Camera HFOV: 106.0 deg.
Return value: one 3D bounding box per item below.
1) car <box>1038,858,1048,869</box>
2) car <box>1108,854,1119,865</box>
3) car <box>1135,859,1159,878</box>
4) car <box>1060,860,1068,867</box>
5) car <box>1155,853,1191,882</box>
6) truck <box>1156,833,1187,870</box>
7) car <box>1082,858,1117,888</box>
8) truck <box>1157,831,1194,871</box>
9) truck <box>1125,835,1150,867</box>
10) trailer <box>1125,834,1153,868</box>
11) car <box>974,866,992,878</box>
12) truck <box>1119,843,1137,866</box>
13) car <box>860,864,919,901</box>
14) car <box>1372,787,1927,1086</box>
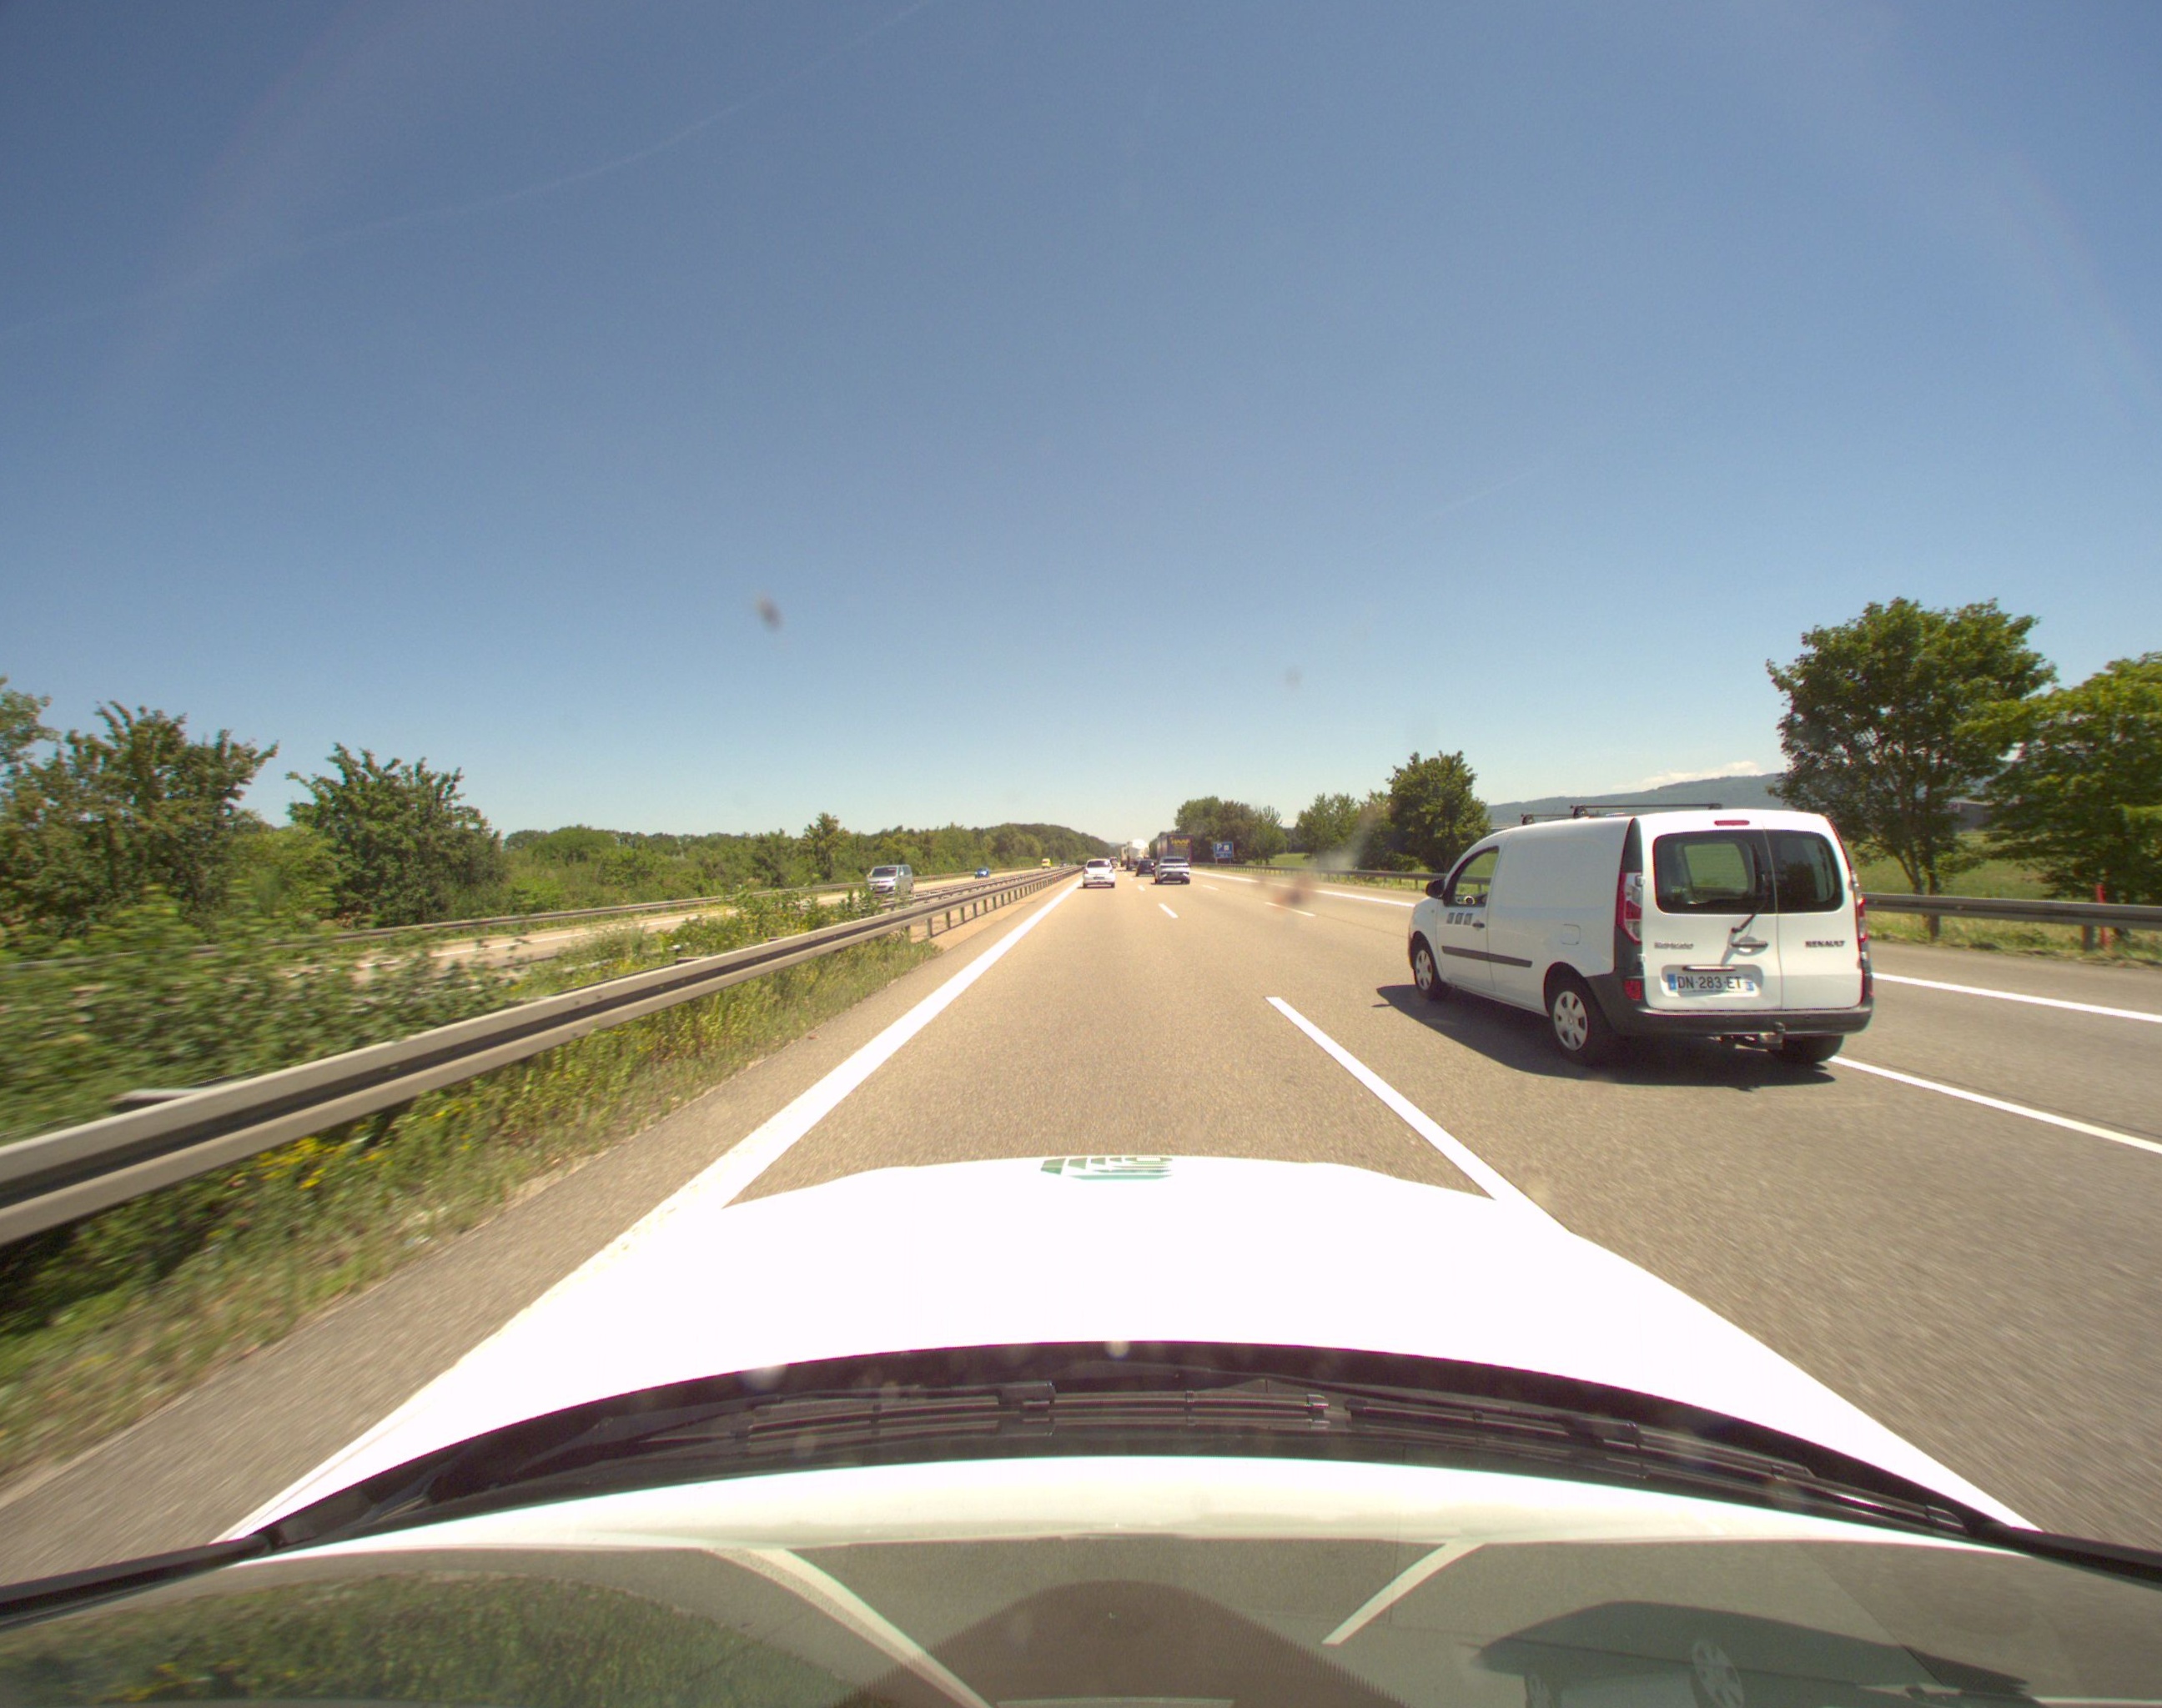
[{"bbox_3d":[-10.180,2.632,217.900,2.157,2.779,5.802,-4,0,2],"label":"car"},{"bbox_3d":[7.377,1.182,183.642,2.465,2.354,5.185,-1,0,3],"label":"car"},{"bbox_3d":[5.552,1.202,69.009,1.843,1.523,3.959,-1,0,2],"label":"car"},{"bbox_3d":[-4.563,2.573,220.147,1.861,1.690,4.628,-4,0,2],"label":"car"},{"bbox_3d":[5.381,0.783,48.002,1.795,1.603,4.382,-1,0,2],"label":"car"},{"bbox_3d":[10.768,-0.281,97.645,3.096,4.139,8.061,-1,0,3],"label":"truck"},{"bbox_3d":[0.976,0.977,43.571,1.793,1.552,3.610,-1,0,1],"label":"car"},{"bbox_3d":[10.541,-0.272,92.383,3.096,4.139,15.521,-1,0,3],"label":"truck"},{"bbox_3d":[7.372,-0.384,107.847,2.902,4.079,7.196,-1,0,1],"label":"truck"},{"bbox_3d":[7.268,-0.365,103.650,2.901,4.069,12.422,-1,0,2],"label":"trailer"},{"bbox_3d":[-12.776,2.279,106.383,1.556,1.424,3.477,-4,-1,5],"label":"car"},{"bbox_3d":[9.062,0.131,157.977,3.381,4.214,12.091,-1,0,3],"label":"truck"},{"bbox_3d":[-11.393,1.631,48.837,2.034,1.924,5.228,-4,0,1],"label":"car"},{"bbox_3d":[4.428,0.528,7.491,1.847,1.863,4.702,-1,0,0],"label":"car"}]
